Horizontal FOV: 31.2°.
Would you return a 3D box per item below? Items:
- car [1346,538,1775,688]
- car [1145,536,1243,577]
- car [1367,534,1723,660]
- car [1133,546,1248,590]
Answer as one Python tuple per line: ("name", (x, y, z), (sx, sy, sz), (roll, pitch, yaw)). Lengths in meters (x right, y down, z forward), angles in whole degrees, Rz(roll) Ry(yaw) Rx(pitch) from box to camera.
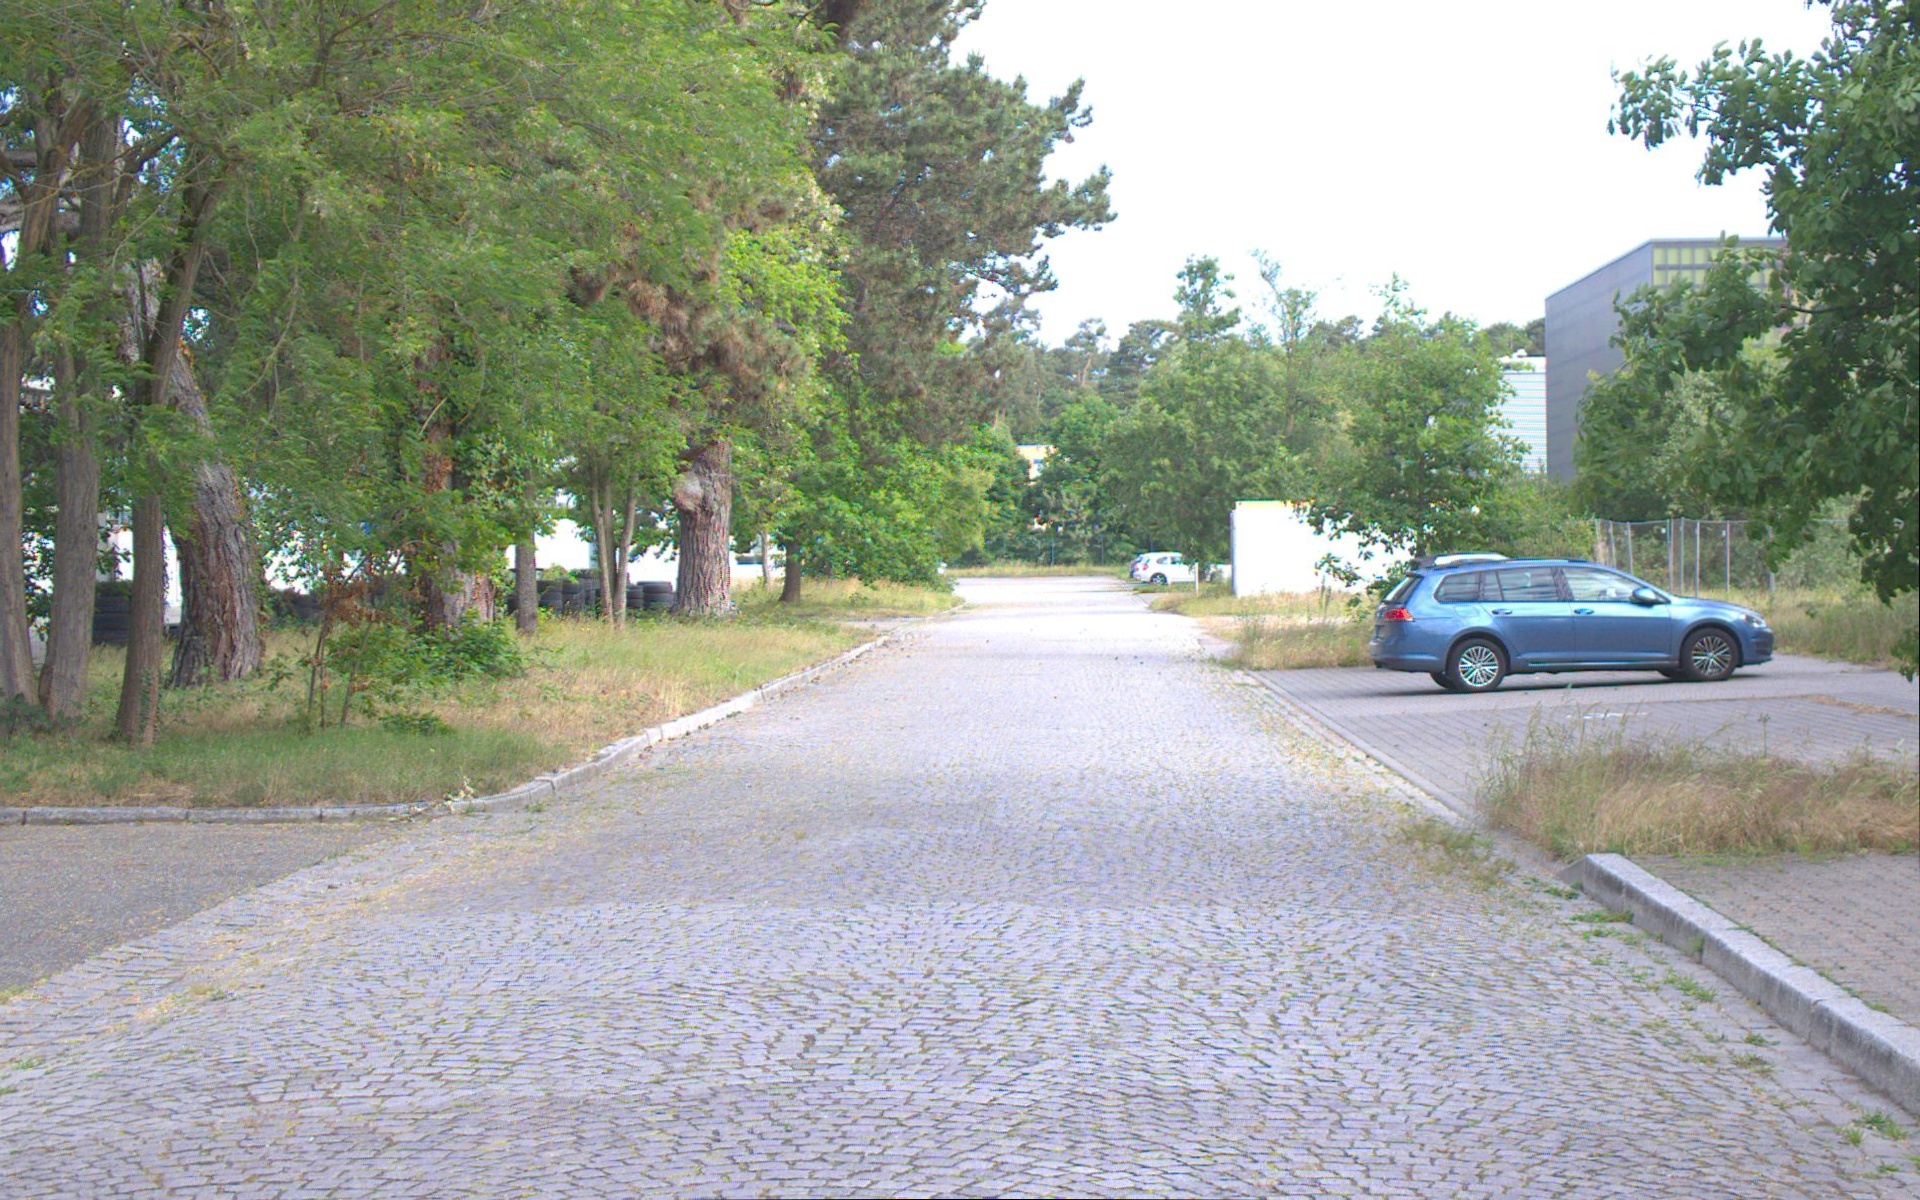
("car", (6.840, 0.131, 39.499), (4.517, 1.526, 2.000), (-2, 1, -1))
("car", (10.470, -1.956, 153.958), (4.355, 1.774, 1.925), (0, 1, 3))
("car", (7.904, -0.052, 46.790), (4.518, 1.526, 2.000), (-2, 1, 3))
("car", (8.912, -1.241, 133.016), (4.355, 1.682, 1.925), (-1, 1, 1))
